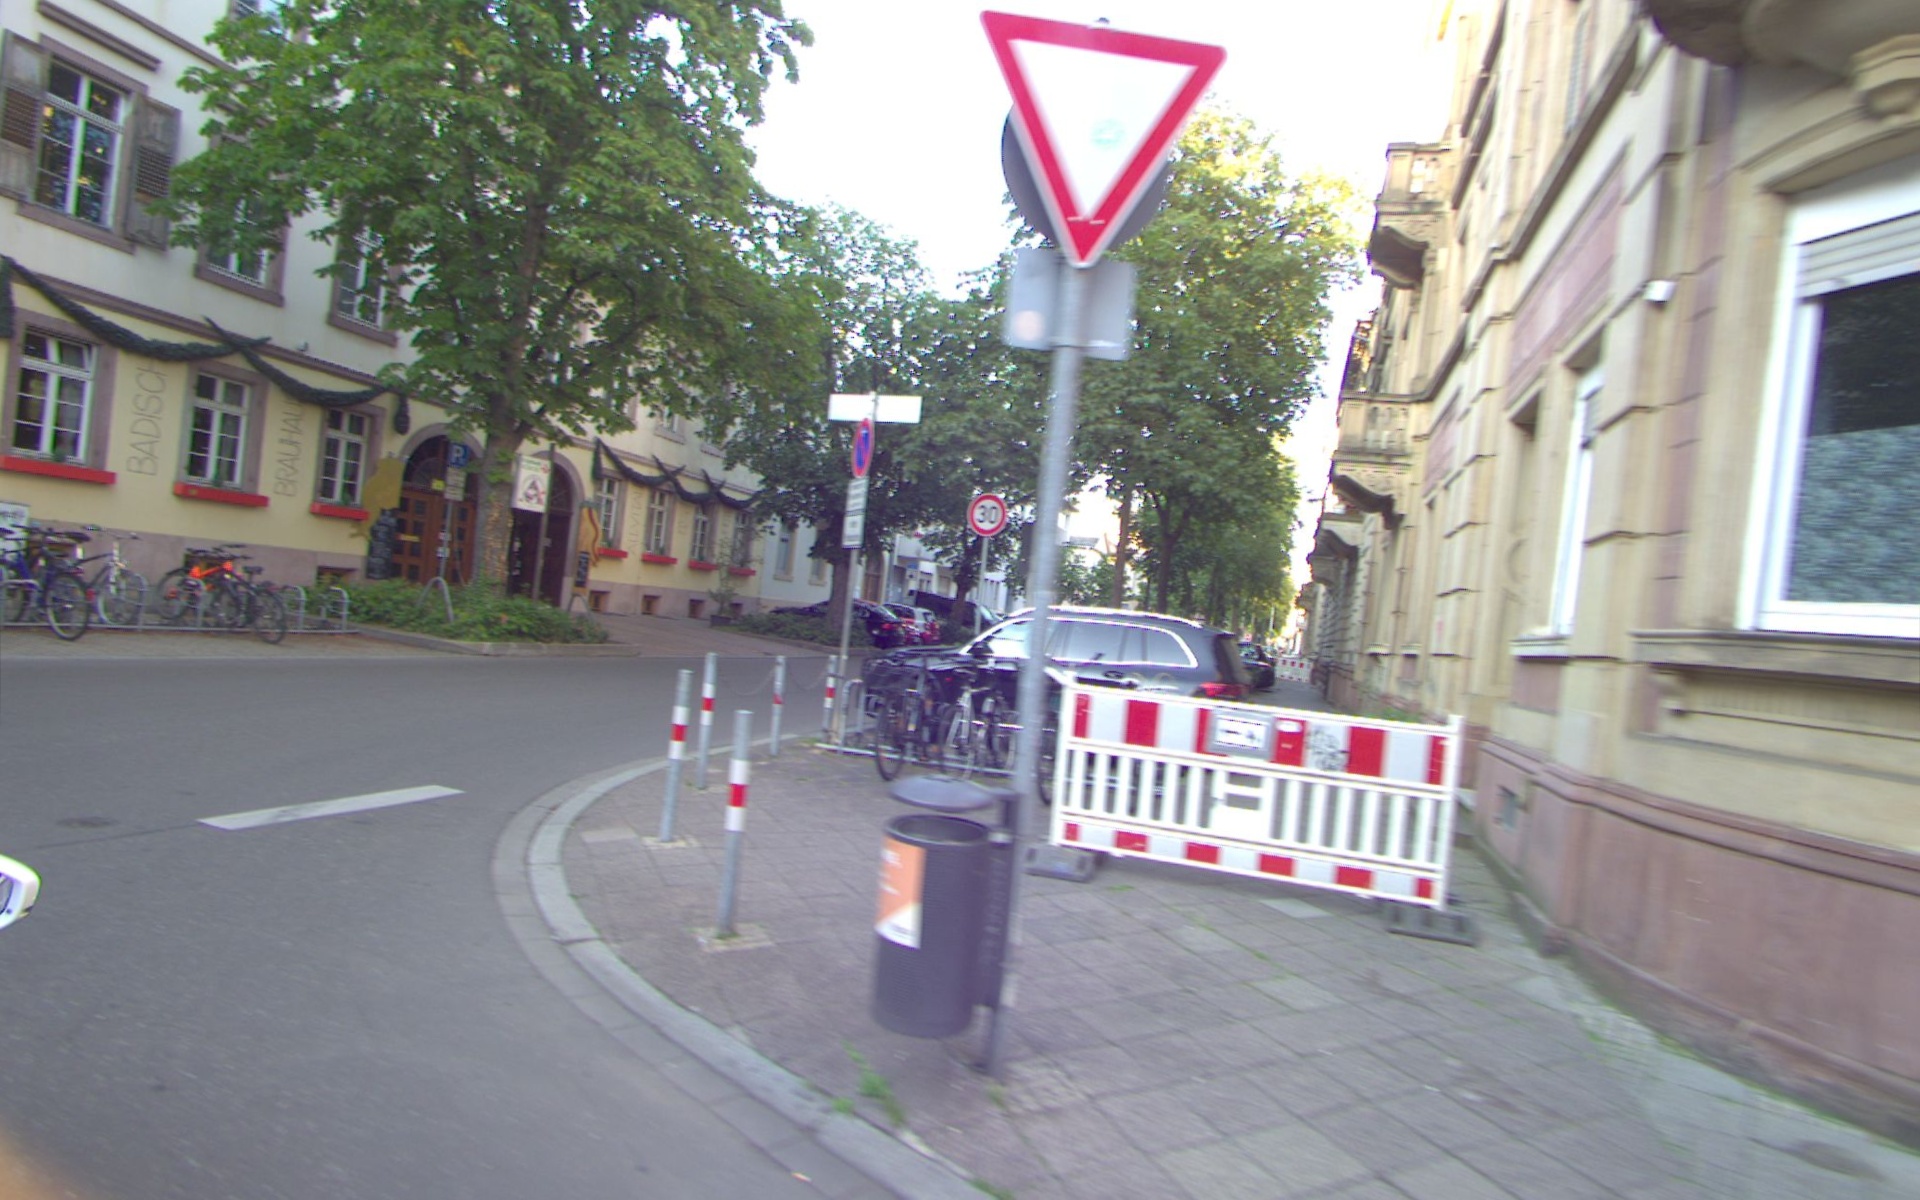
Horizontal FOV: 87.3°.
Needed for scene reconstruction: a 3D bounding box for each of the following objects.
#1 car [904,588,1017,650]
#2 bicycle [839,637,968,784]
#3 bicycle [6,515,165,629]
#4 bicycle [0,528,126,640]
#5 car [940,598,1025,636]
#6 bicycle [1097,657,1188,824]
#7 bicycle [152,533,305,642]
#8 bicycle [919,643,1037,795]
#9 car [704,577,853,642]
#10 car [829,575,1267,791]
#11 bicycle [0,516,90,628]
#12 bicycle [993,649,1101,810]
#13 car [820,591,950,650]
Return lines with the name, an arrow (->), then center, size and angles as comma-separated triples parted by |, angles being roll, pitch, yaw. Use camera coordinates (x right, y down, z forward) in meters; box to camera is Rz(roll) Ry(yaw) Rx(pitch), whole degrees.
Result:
car -> 0.028, 0.832, 44.048 | 4.363, 2.149, 1.777 | 7, 0, 20
bicycle -> -0.439, 0.891, 8.722 | 0.358, 1.103, 1.869 | 5, 0, 19
bicycle -> -10.770, -0.350, 12.377 | 2.004, 1.160, 0.421 | 7, 1, 18
bicycle -> -9.961, -0.201, 10.834 | 2.004, 1.016, 0.421 | 7, 1, 18
car -> 1.289, 0.976, 57.368 | 4.363, 1.633, 1.777 | 7, 0, 20
bicycle -> 1.494, 1.047, 8.033 | 0.358, 1.103, 1.869 | 5, 0, 19
bicycle -> -9.516, -0.168, 13.069 | 2.004, 1.160, 0.421 | 7, 1, 18
bicycle -> 0.201, 0.936, 8.544 | 0.358, 1.103, 1.869 | 5, 0, 19
car -> -5.927, 0.315, 32.937 | 4.363, 1.524, 1.777 | 7, 0, 20
car -> 1.010, 0.817, 11.376 | 4.506, 1.760, 1.776 | 5, 1, 20
bicycle -> -11.092, -0.378, 11.701 | 2.004, 1.160, 0.421 | 7, 1, 18
bicycle -> 0.753, 0.979, 8.191 | 0.358, 1.103, 1.869 | 5, 0, 19
car -> -2.795, 0.763, 37.531 | 4.363, 1.633, 1.777 | 7, 0, 20
